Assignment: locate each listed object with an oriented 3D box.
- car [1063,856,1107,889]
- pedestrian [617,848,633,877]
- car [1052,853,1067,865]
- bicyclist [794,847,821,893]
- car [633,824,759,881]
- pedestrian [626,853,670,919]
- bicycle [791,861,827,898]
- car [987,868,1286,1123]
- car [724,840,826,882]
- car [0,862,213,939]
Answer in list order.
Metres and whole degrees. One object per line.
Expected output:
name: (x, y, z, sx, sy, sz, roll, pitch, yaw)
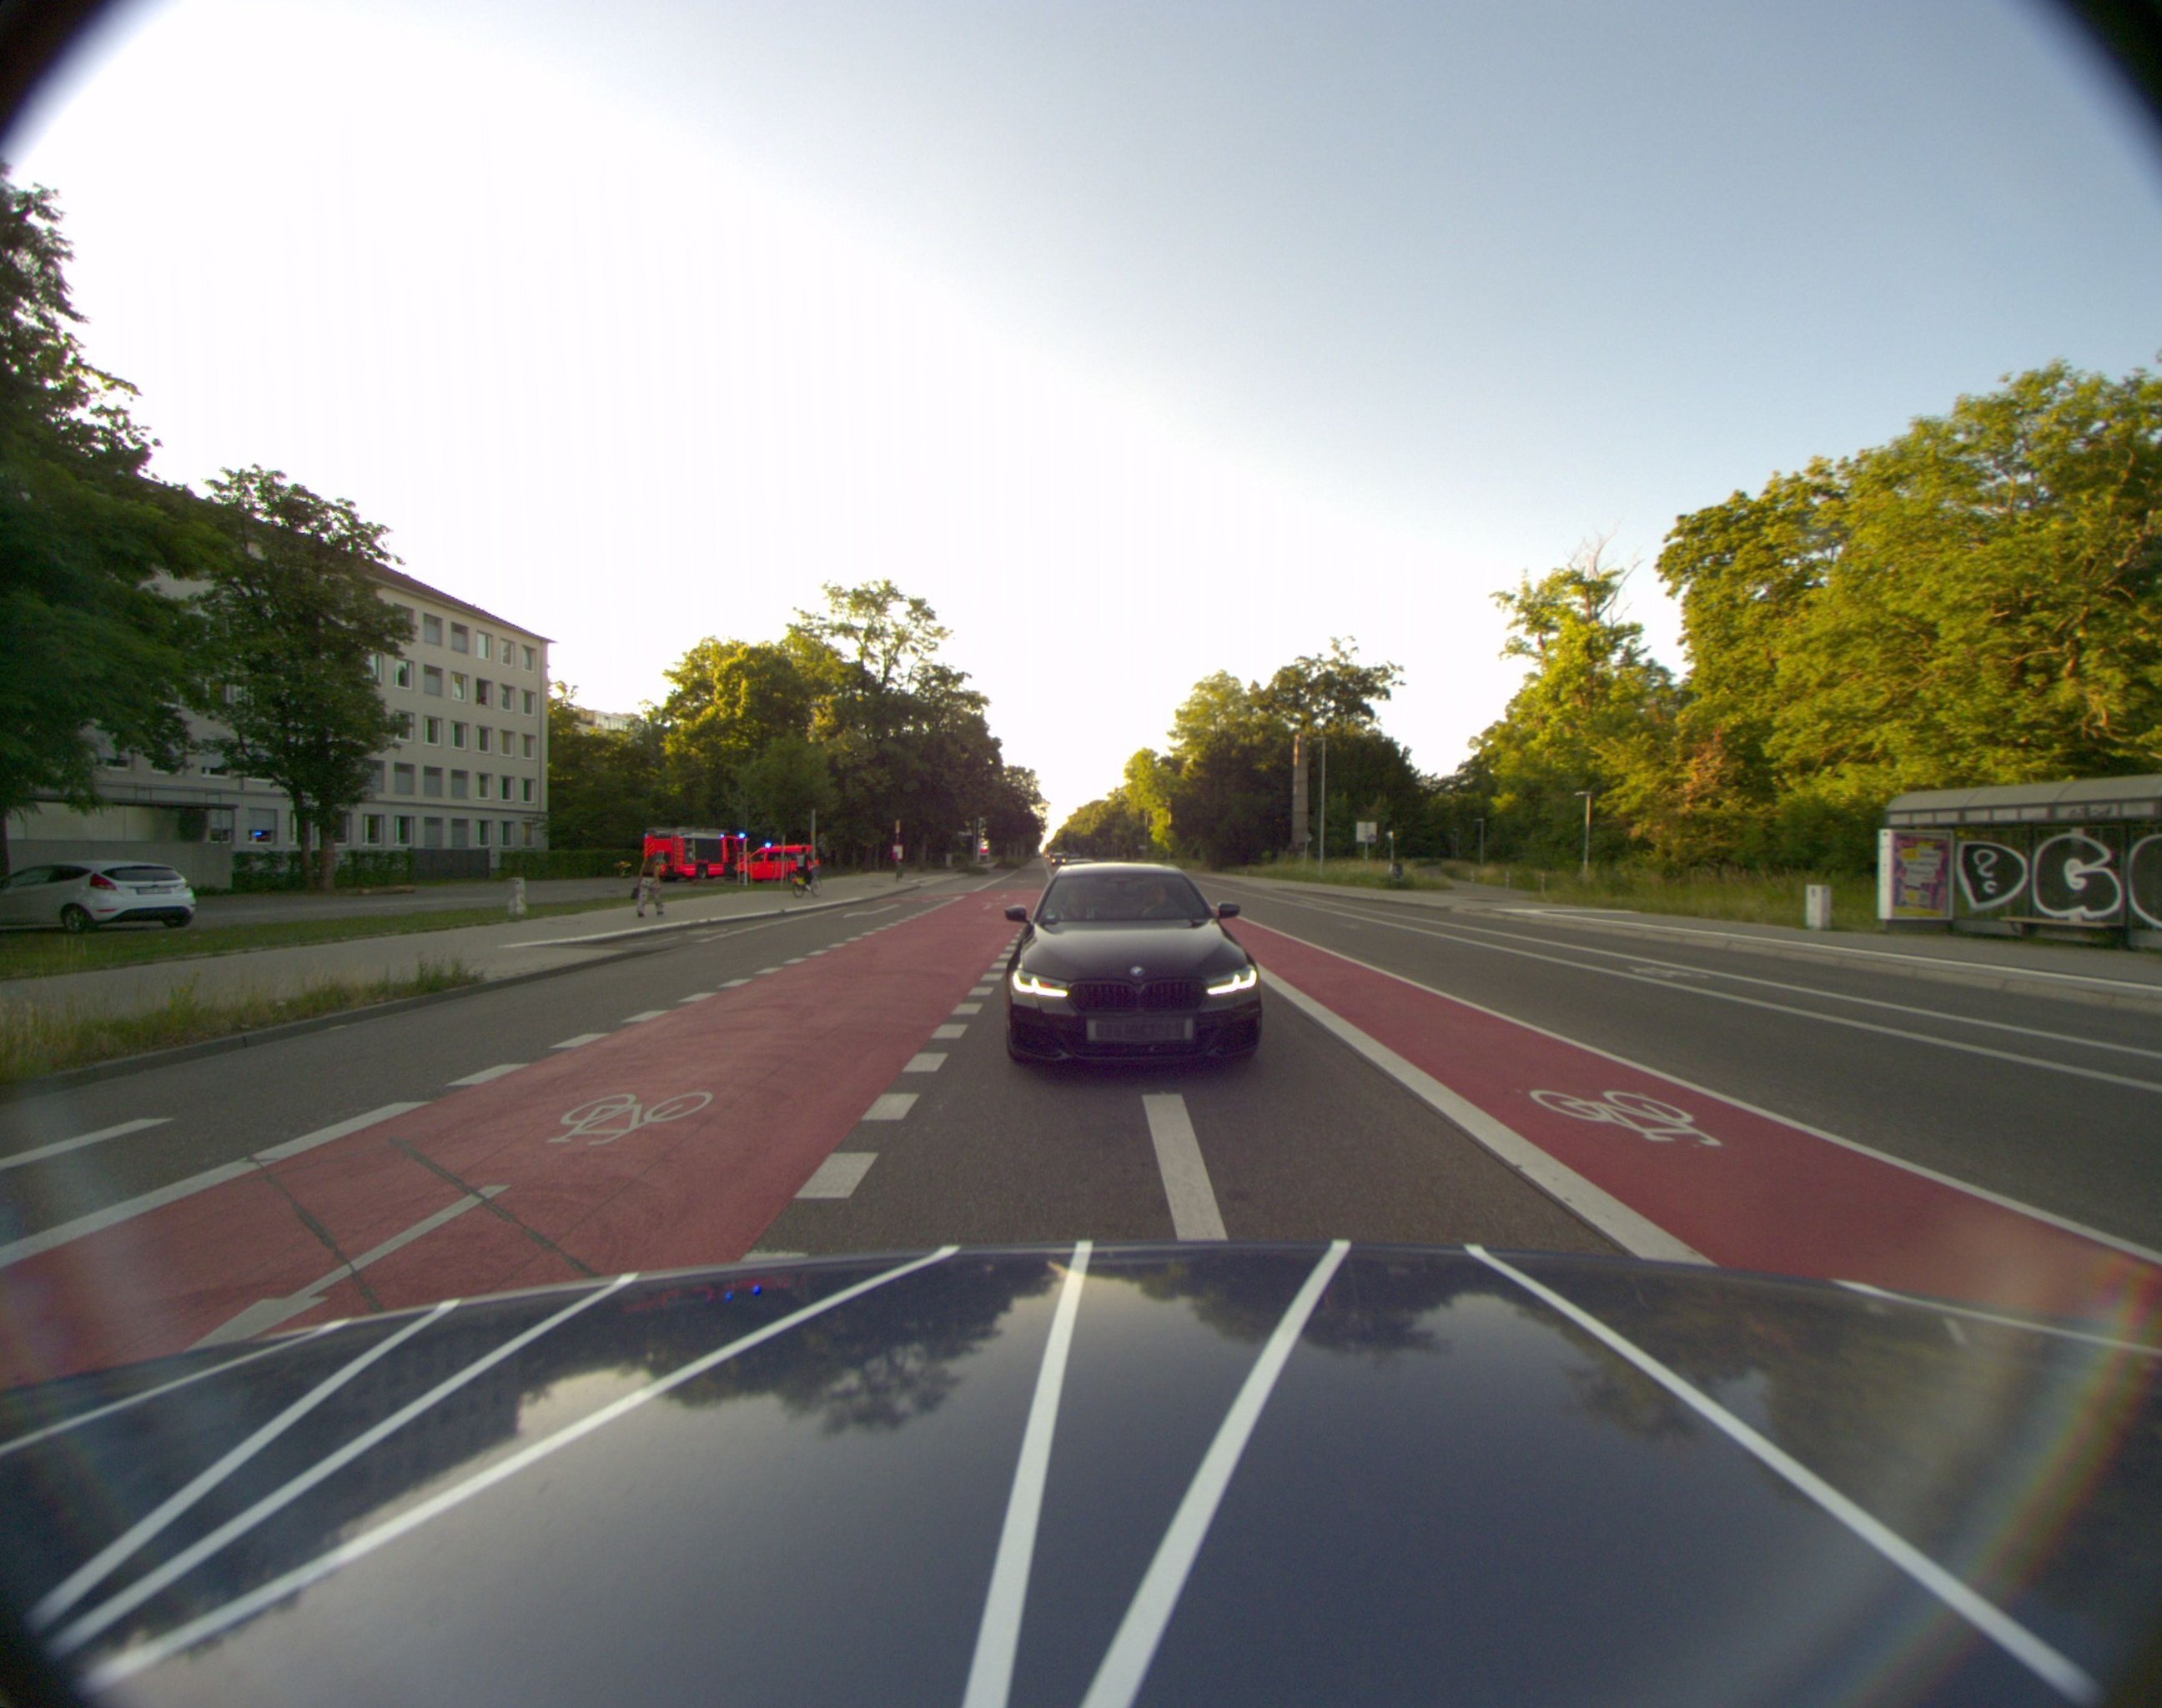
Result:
car: (0.109, 0.797, 35.168, 1.850, 1.346, 4.702, -2, 0, -1)
pedestrian: (-29.558, 0.539, 49.250, 0.847, 1.831, 0.681, 0, 0, -23)
car: (-2.807, 0.638, 99.594, 1.850, 1.473, 4.702, -2, 0, -3)
bicyclist: (-9.685, 0.549, 26.978, 0.571, 1.623, 1.038, 0, 1, 1)
car: (-23.617, -0.133, 47.238, 2.770, 3.225, 8.301, 0, 0, 7)
pedestrian: (-10.796, 0.794, 18.965, 0.682, 1.613, 0.688, 0, 0, 1)
bicycle: (-9.678, 0.886, 27.100, 0.571, 1.233, 1.899, 0, 1, 1)
car: (0.274, 0.926, 7.334, 1.818, 1.391, 5.212, -2, 0, -2)
car: (-17.937, 0.397, 44.709, 5.164, 2.379, 2.000, 0, 1, 3)
car: (-20.816, 0.924, 15.880, 3.662, 1.451, 1.665, 0, 1, 5)
